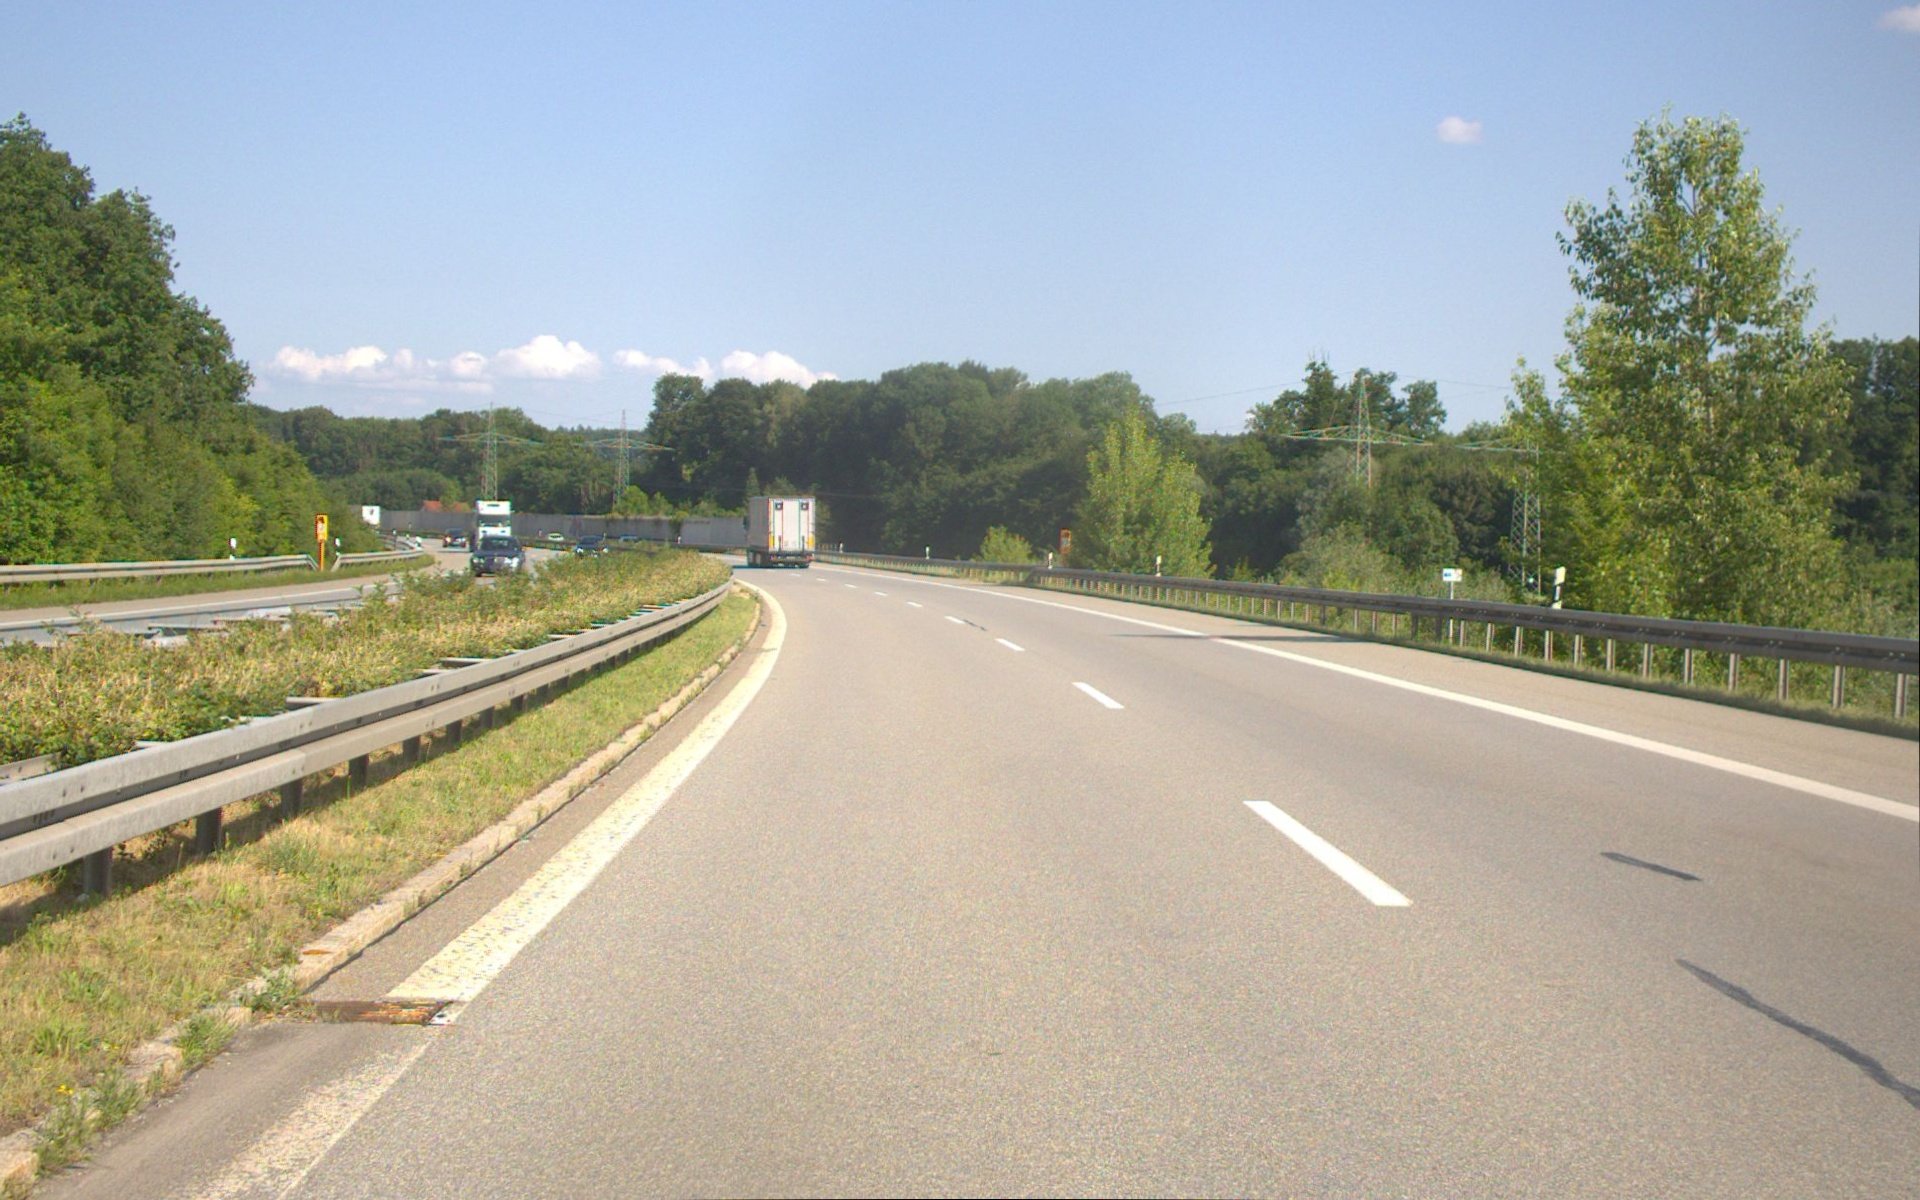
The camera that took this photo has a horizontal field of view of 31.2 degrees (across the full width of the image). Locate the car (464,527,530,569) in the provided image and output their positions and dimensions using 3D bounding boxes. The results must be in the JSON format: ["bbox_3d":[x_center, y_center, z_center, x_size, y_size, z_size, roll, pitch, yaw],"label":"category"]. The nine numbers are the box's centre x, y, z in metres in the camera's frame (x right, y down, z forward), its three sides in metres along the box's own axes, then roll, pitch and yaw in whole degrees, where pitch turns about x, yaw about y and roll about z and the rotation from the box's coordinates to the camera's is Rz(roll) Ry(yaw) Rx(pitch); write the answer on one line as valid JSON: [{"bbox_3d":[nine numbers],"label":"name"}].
[{"bbox_3d":[-16.475,-1.870,122.385,1.993,1.427,4.487,0,1,-3],"label":"car"}]

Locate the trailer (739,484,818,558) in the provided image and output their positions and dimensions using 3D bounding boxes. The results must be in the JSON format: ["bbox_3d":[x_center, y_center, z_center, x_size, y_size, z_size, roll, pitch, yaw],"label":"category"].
[{"bbox_3d":[-10.384,-4.541,195.588,2.883,4.052,12.424,0,2,-11],"label":"trailer"}]

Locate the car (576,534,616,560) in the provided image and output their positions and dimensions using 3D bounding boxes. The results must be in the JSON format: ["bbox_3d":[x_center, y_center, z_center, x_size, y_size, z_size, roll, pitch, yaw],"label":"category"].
[{"bbox_3d":[-20.252,-2.930,191.197,1.728,1.423,3.882,0,1,-13],"label":"car"}]

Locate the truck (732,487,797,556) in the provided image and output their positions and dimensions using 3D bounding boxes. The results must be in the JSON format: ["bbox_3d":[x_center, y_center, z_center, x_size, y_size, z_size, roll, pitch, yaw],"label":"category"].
[{"bbox_3d":[-11.495,-4.615,201.423,2.829,3.998,6.589,0,2,-12],"label":"truck"}]
